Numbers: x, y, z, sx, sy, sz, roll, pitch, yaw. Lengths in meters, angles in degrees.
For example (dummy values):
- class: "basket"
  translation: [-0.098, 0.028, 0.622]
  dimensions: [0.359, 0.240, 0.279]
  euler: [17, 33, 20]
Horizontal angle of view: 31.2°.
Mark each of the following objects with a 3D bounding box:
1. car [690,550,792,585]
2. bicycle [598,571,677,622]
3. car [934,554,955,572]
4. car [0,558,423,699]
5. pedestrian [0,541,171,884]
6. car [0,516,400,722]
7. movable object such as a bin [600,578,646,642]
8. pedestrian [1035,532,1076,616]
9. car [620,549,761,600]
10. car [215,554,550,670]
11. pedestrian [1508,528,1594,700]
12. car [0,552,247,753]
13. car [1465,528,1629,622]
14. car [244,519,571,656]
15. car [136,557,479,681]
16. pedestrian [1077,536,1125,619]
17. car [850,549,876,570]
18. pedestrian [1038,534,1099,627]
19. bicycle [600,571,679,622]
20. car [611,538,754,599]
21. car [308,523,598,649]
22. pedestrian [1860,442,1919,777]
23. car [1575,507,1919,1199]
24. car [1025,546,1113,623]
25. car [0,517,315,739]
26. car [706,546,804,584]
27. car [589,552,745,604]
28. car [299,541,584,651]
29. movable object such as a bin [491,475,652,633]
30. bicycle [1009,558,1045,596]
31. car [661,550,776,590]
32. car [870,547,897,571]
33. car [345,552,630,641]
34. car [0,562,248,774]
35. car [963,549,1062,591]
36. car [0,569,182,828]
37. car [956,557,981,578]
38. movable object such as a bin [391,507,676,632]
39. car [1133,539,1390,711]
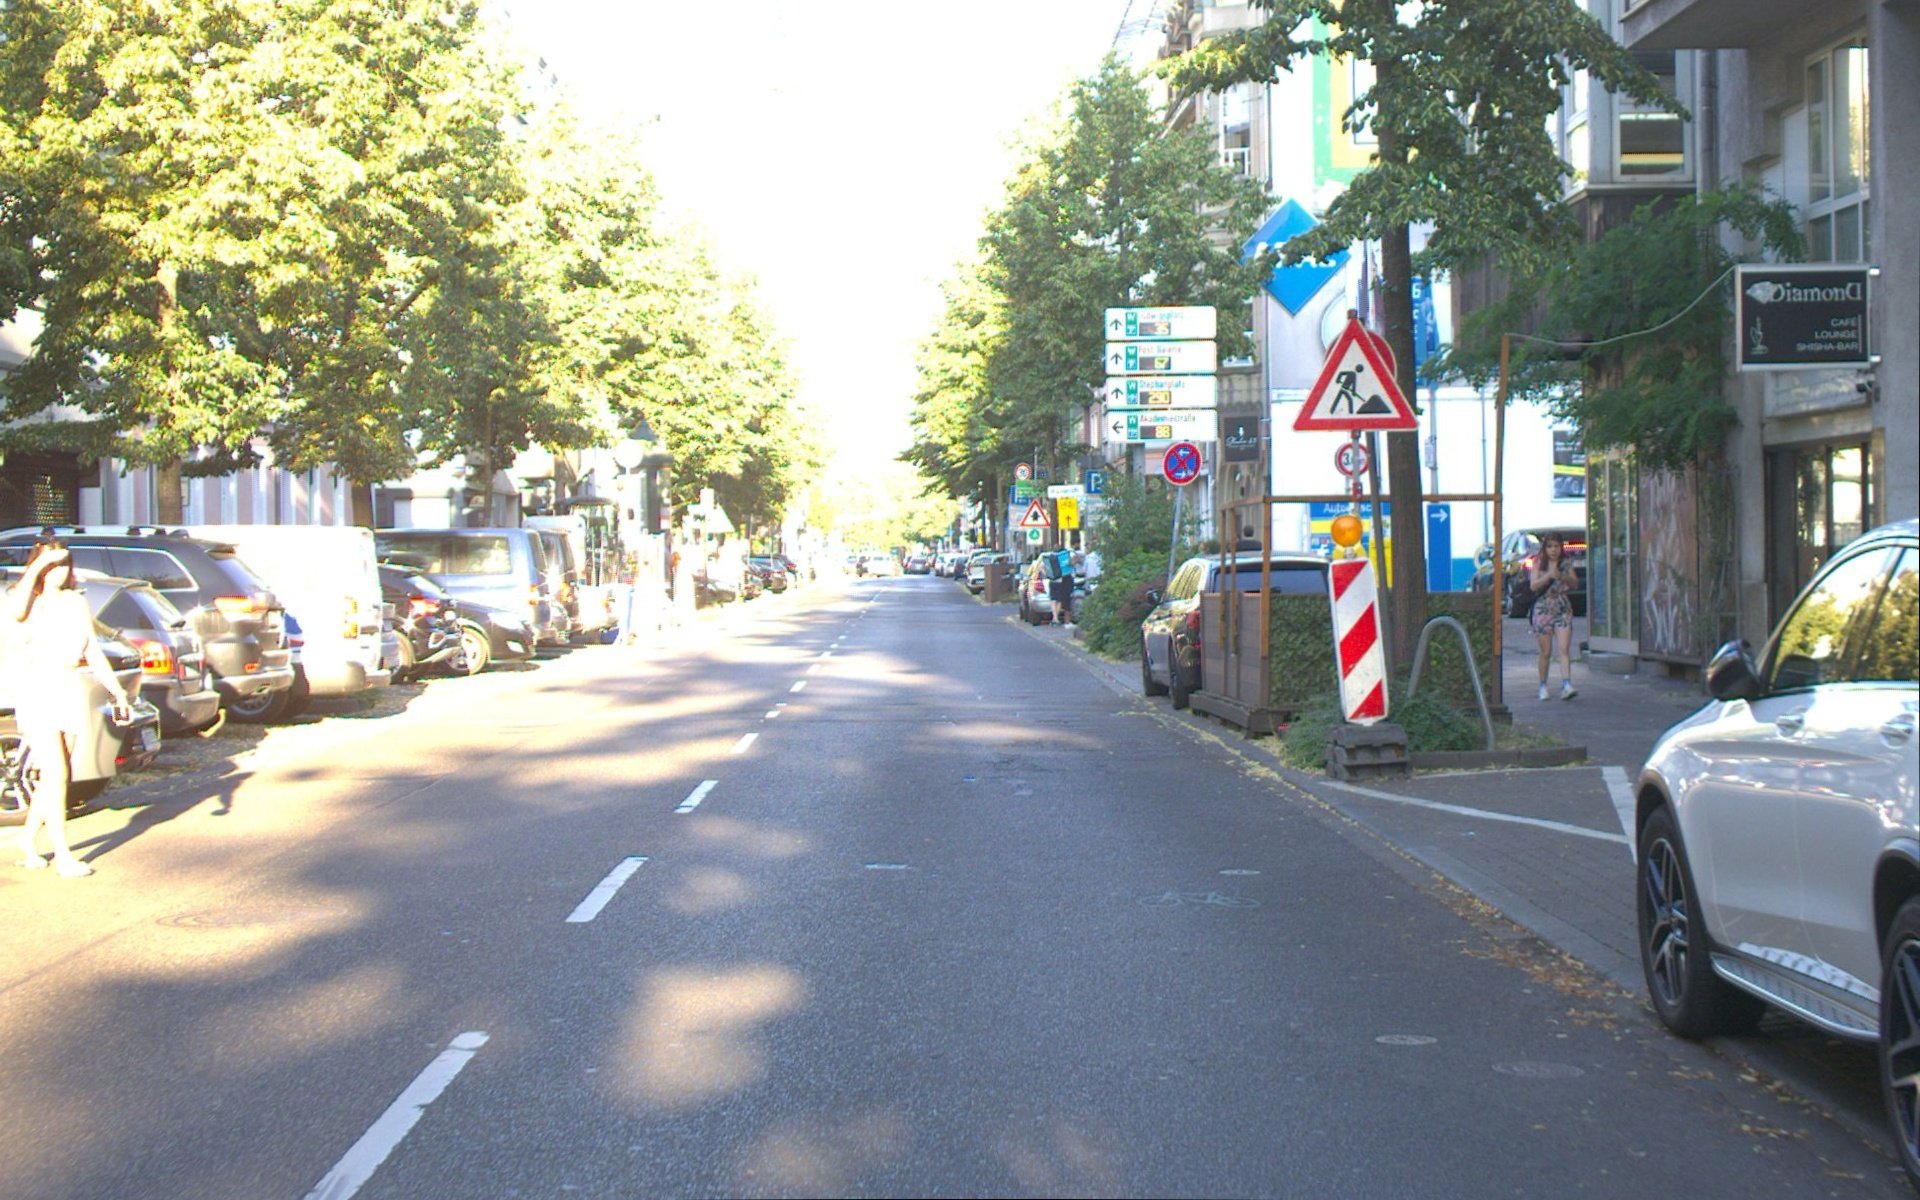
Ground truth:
- class: "car"
  translation: [-9.867, -1.457, 155.158]
  dimensions: [4.442, 1.518, 1.919]
  euler: [0, 0, 0]
- class: "bicycle"
  translation: [-7.267, -0.082, 77.576]
  dimensions: [1.683, 1.075, 0.444]
  euler: [2, -1, 7]
- class: "car"
  translation: [-1.112, -2.688, 252.505]
  dimensions: [1.513, 1.294, 3.303]
  euler: [0, 0, 0]
- class: "car"
  translation: [-8.314, 0.292, 37.944]
  dimensions: [4.478, 1.480, 1.734]
  euler: [0, 1, 2]
- class: "pedestrian"
  translation: [-4.396, 0.536, 16.866]
  dimensions: [0.827, 1.632, 0.827]
  euler: [-1, 1, 0]
- class: "car"
  translation: [-7.996, 0.166, 33.113]
  dimensions: [4.870, 1.901, 1.974]
  euler: [0, 1, -1]
- class: "movable object such as a bin"
  translation: [-5.969, 0.175, 60.984]
  dimensions: [0.690, 1.101, 0.883]
  euler: [-1, 1, 1]
- class: "pedestrian"
  translation: [2.013, -0.547, 72.426]
  dimensions: [0.677, 1.748, 0.825]
  euler: [-1, 0, -11]
- class: "car"
  translation: [-9.089, -0.855, 116.156]
  dimensions: [4.571, 1.692, 2.060]
  euler: [0, 0, 0]
- class: "car"
  translation: [-7.748, 0.152, 46.453]
  dimensions: [4.325, 1.496, 1.842]
  euler: [1, 1, -6]
- class: "pedestrian"
  translation: [5.363, 0.120, 31.226]
  dimensions: [0.610, 1.520, 0.773]
  euler: [-1, 1, 0]
- class: "car"
  translation: [-8.009, 0.405, 27.777]
  dimensions: [4.037, 1.550, 1.964]
  euler: [0, 1, 2]
- class: "car"
  translation: [9.521, -0.380, 56.106]
  dimensions: [1.734, 1.426, 4.908]
  euler: [-2, 0, -1]
- class: "car"
  translation: [-8.078, -0.198, 50.564]
  dimensions: [4.483, 1.969, 2.068]
  euler: [0, 1, 0]
- class: "car"
  translation: [-8.184, 0.223, 43.335]
  dimensions: [3.923, 1.496, 1.905]
  euler: [0, 1, 2]
- class: "pedestrian"
  translation: [2.964, -0.473, 72.134]
  dimensions: [0.651, 1.694, 0.667]
  euler: [-4, 1, -45]
- class: "car"
  translation: [-7.174, -2.985, 254.062]
  dimensions: [1.752, 1.535, 3.303]
  euler: [-1, 0, 0]
- class: "pedestrian"
  translation: [2.207, -0.394, 69.919]
  dimensions: [1.013, 1.819, 0.780]
  euler: [-3, 1, -10]
- class: "bicycle"
  translation: [-7.290, -0.078, 78.168]
  dimensions: [1.683, 1.075, 0.444]
  euler: [2, -1, 7]
- class: "car"
  translation: [-9.120, -1.051, 113.390]
  dimensions: [4.571, 1.955, 1.991]
  euler: [0, 0, -1]
- class: "car"
  translation: [-8.210, -0.240, 55.954]
  dimensions: [4.483, 1.969, 1.966]
  euler: [1, 1, -2]
- class: "pedestrian"
  translation: [5.517, 0.037, 18.757]
  dimensions: [0.855, 1.788, 0.997]
  euler: [-2, 1, -4]
- class: "car"
  translation: [3.026, 0.521, 9.052]
  dimensions: [1.879, 1.568, 4.692]
  euler: [-3, 1, 0]
- class: "car"
  translation: [2.368, -0.370, 75.621]
  dimensions: [1.687, 1.569, 4.013]
  euler: [-3, 1, 0]
- class: "car"
  translation: [-8.061, 0.229, 30.151]
  dimensions: [4.428, 1.863, 1.894]
  euler: [0, 1, 0]
- class: "car"
  translation: [-9.625, -1.654, 161.660]
  dimensions: [4.442, 1.753, 1.919]
  euler: [0, 0, 0]
- class: "car"
  translation: [-8.770, -0.659, 103.209]
  dimensions: [4.546, 1.536, 1.811]
  euler: [0, 0, -2]
- class: "car"
  translation: [-7.995, -0.080, 53.263]
  dimensions: [4.129, 1.631, 1.860]
  euler: [1, 1, 0]
- class: "movable object such as a bin"
  translation: [-7.537, -0.905, 67.254]
  dimensions: [2.624, 2.959, 5.304]
  euler: [0, 1, -1]
- class: "bicycle"
  translation: [2.119, -0.736, 108.748]
  dimensions: [0.598, 1.174, 1.844]
  euler: [0, 1, 19]
- class: "car"
  translation: [-9.659, -1.209, 137.700]
  dimensions: [4.442, 1.562, 1.919]
  euler: [0, 0, 0]
- class: "car"
  translation: [-5.221, -2.791, 234.591]
  dimensions: [1.752, 1.535, 3.303]
  euler: [-1, 0, 0]
- class: "car"
  translation: [-8.076, -0.074, 59.031]
  dimensions: [4.594, 1.465, 1.892]
  euler: [0, 1, 2]
- class: "car"
  translation: [-7.461, 0.480, 25.315]
  dimensions: [4.037, 1.478, 1.963]
  euler: [0, 1, -1]
- class: "car"
  translation: [2.035, -1.147, 131.853]
  dimensions: [1.674, 1.583, 3.814]
  euler: [1, 1, 42]
- class: "car"
  translation: [-6.810, 0.565, 20.353]
  dimensions: [4.058, 1.456, 1.686]
  euler: [0, 1, -3]
- class: "car"
  translation: [0.521, -1.974, 211.608]
  dimensions: [1.513, 1.271, 3.303]
  euler: [0, 0, 0]
- class: "movable object such as a bin"
  translation: [-8.825, -0.656, 71.599]
  dimensions: [2.312, 2.486, 5.740]
  euler: [0, 1, 43]
- class: "car"
  translation: [2.866, 0.195, 33.698]
  dimensions: [1.828, 1.483, 4.850]
  euler: [-3, 1, -3]
